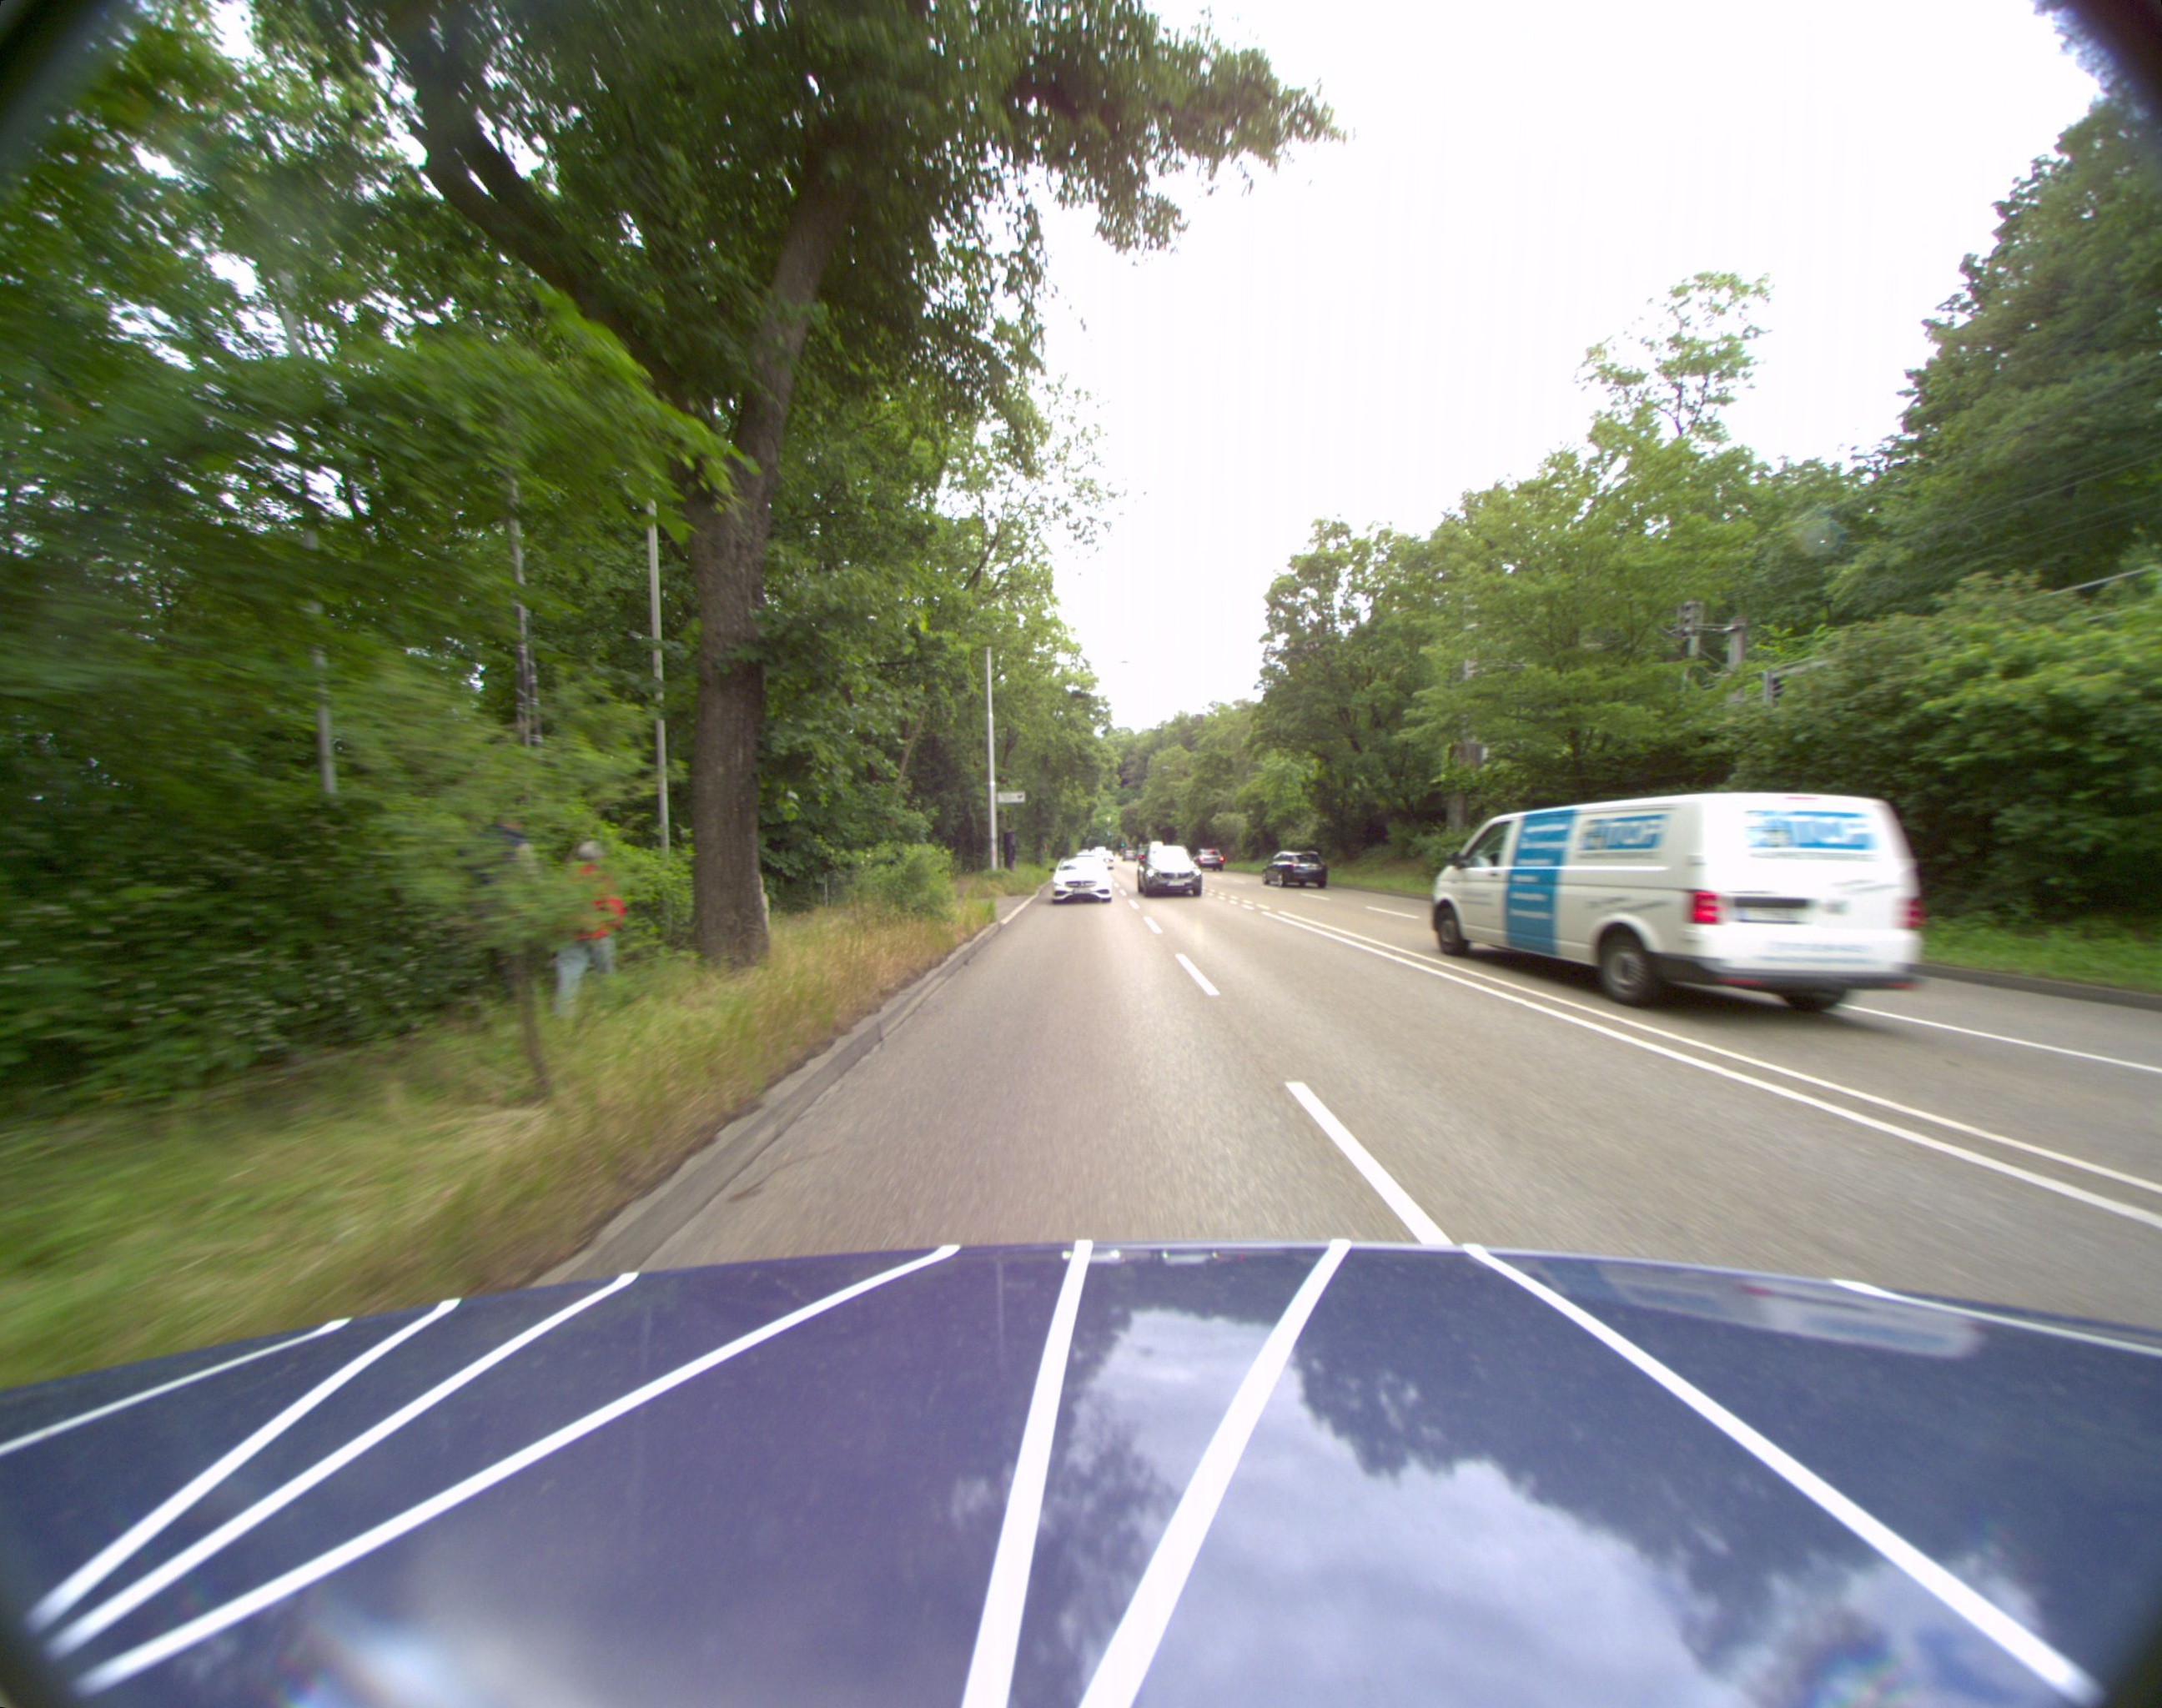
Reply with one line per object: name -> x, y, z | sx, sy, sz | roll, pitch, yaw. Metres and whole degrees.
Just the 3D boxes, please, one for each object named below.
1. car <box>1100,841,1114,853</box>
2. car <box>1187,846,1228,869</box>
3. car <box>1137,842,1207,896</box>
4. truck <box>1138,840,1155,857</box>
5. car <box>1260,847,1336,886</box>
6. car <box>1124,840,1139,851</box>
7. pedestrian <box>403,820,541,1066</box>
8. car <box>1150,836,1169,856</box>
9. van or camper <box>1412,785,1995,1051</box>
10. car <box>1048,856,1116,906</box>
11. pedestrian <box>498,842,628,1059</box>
car -> 3.498, -0.919, 102.984 | 1.698, 1.573, 3.999 | -2, 1, -1
car -> 9.296, 0.230, 56.191 | 1.797, 1.602, 4.185 | 1, 1, -7
car -> 2.976, 0.427, 25.679 | 1.871, 1.653, 4.191 | -1, 1, 0
truck -> 9.780, -0.898, 114.624 | 2.182, 2.397, 6.465 | 2, 1, 2
car -> 8.924, 0.459, 31.644 | 1.918, 1.459, 4.529 | 1, 1, 1
car -> 6.993, -1.219, 105.466 | 1.843, 1.457, 4.465 | -3, 1, 1
pedestrian -> -4.523, 0.632, 5.677 | 0.520, 1.743, 0.524 | -2, 2, -3
car -> 10.092, -1.048, 98.116 | 1.892, 2.541, 4.914 | 2, 1, 1
van or camper -> 5.903, 0.445, 8.466 | 1.999, 2.002, 5.367 | 1, 1, -1
car -> 0.040, 0.780, 24.004 | 1.897, 1.289, 4.327 | -2, 1, 0
pedestrian -> -4.229, 0.754, 6.241 | 0.610, 1.688, 0.548 | -2, 2, -3
